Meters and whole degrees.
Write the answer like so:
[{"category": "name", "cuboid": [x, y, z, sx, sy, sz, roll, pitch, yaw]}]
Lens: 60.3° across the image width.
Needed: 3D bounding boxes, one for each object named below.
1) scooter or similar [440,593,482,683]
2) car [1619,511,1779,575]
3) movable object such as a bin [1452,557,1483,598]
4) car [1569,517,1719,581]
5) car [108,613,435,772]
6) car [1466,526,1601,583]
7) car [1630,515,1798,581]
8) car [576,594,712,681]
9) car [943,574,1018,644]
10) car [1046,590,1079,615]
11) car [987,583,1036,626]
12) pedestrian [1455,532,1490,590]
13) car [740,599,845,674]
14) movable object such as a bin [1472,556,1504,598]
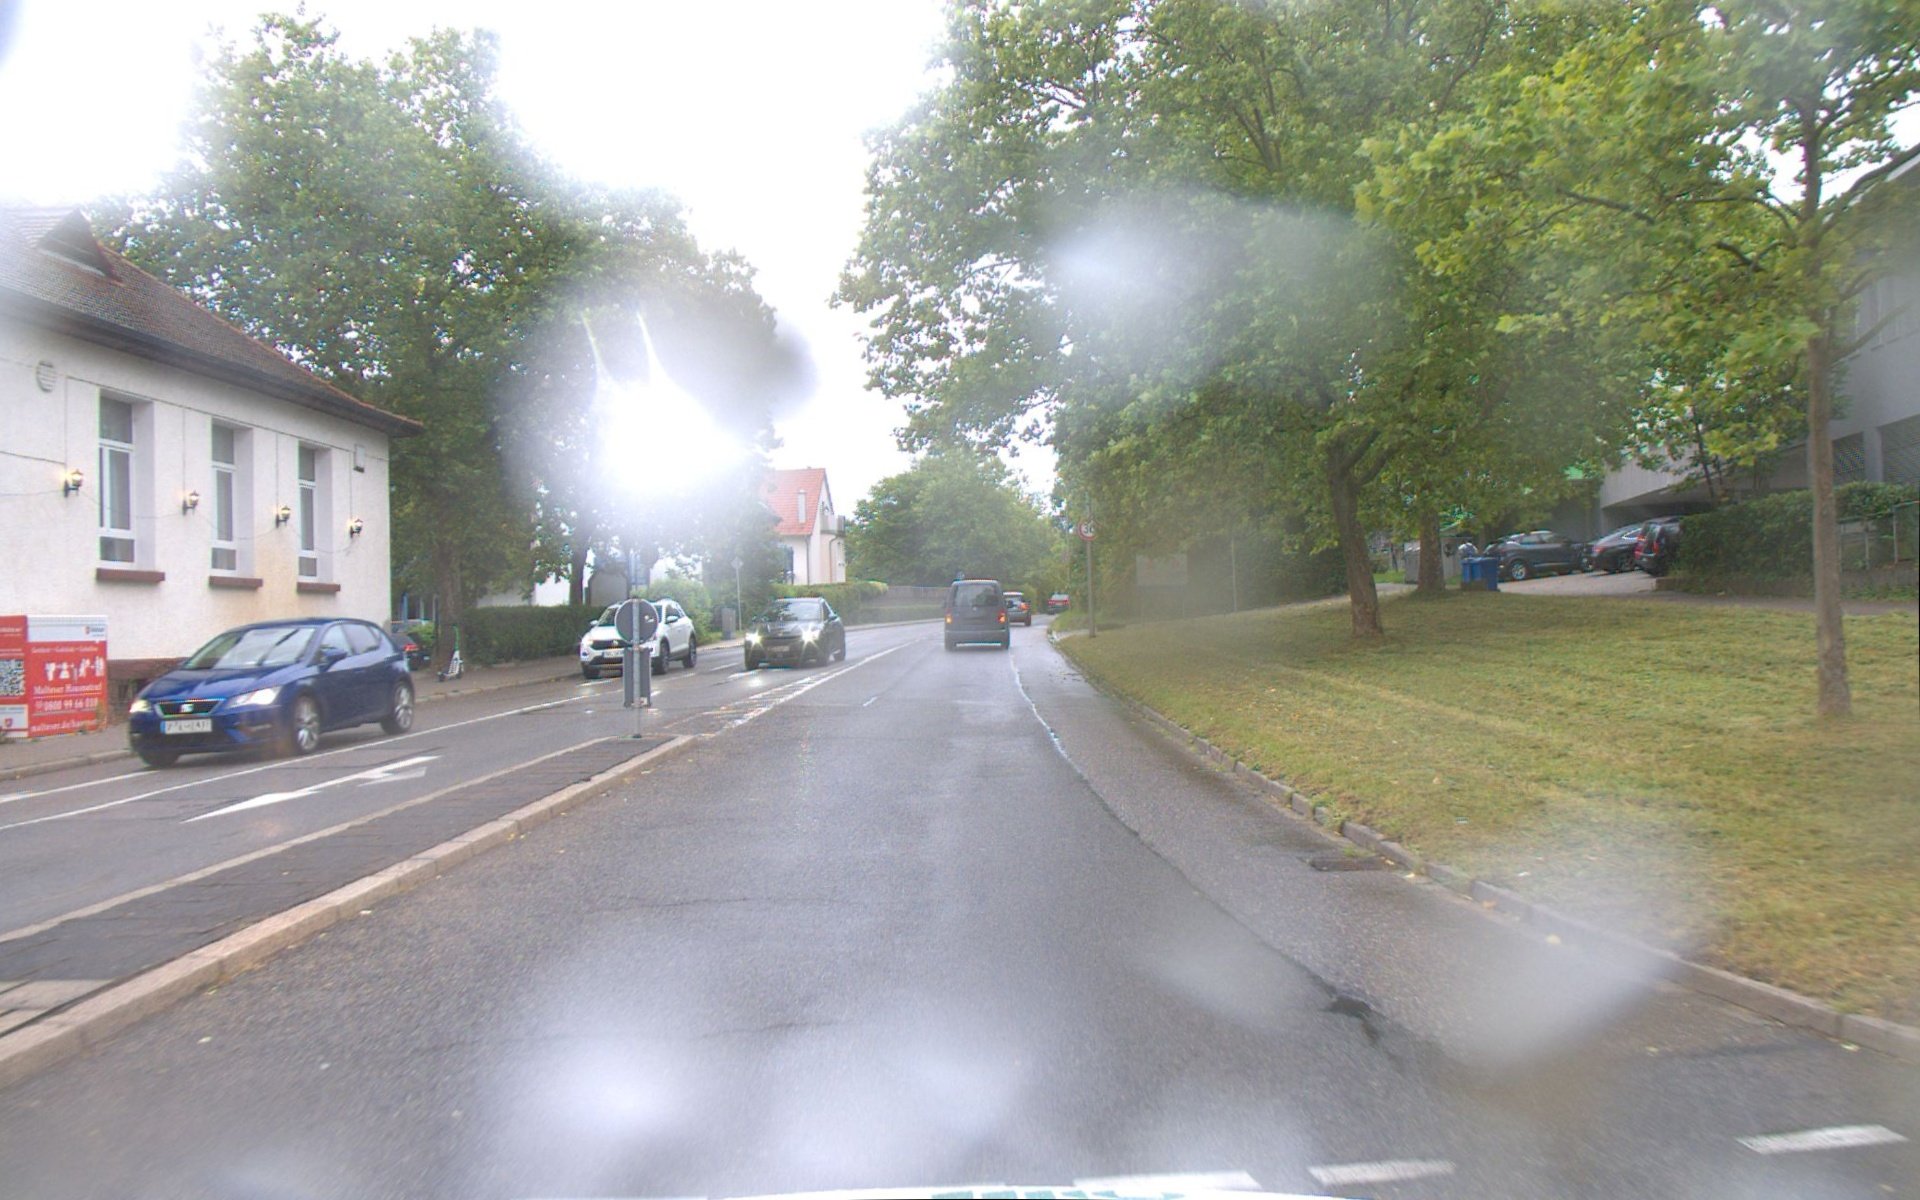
[{"category": "scooter or similar", "cuboid": [-10.180, 0.769, 33.773, 0.392, 1.806, 1.512, -1, -1, -1]}, {"category": "car", "cuboid": [21.873, -1.665, 49.094, 3.902, 1.691, 1.961, -2, 0, 7]}, {"category": "movable object such as a bin", "cuboid": [14.366, -0.634, 46.853, 0.655, 1.140, 0.662, 1, 0, -3]}, {"category": "car", "cuboid": [21.192, -1.559, 51.370, 3.902, 1.780, 2.002, -2, 0, 9]}, {"category": "car", "cuboid": [-7.584, 0.946, 18.692, 1.730, 1.445, 4.107, -2, 1, 3]}, {"category": "car", "cuboid": [19.849, -1.549, 57.316, 3.909, 1.780, 1.998, -2, 0, -5]}, {"category": "car", "cuboid": [21.234, -1.439, 46.722, 3.902, 1.668, 2.002, -2, 0, 9]}, {"category": "car", "cuboid": [-6.856, 0.775, 36.294, 1.952, 1.713, 4.002, -2, 0, 4]}, {"category": "car", "cuboid": [0.589, 0.212, 45.293, 1.952, 1.825, 4.001, 0, 1, 1]}, {"category": "car", "cuboid": [7.359, 0.188, 118.769, 1.951, 1.780, 4.003, 1, 0, 9]}, {"category": "car", "cuboid": [2.308, 0.171, 73.201, 1.909, 1.780, 4.003, -2, 0, 5]}, {"category": "pedestrian", "cuboid": [16.120, -1.209, 52.018, 0.651, 1.780, 0.846, -2, 0, -16]}, {"category": "car", "cuboid": [-3.595, 0.749, 36.212, 1.954, 1.454, 4.386, -2, 0, -2]}, {"category": "movable object such as a bin", "cuboid": [14.737, -0.631, 46.147, 0.655, 1.140, 0.662, 1, 0, -3]}]
